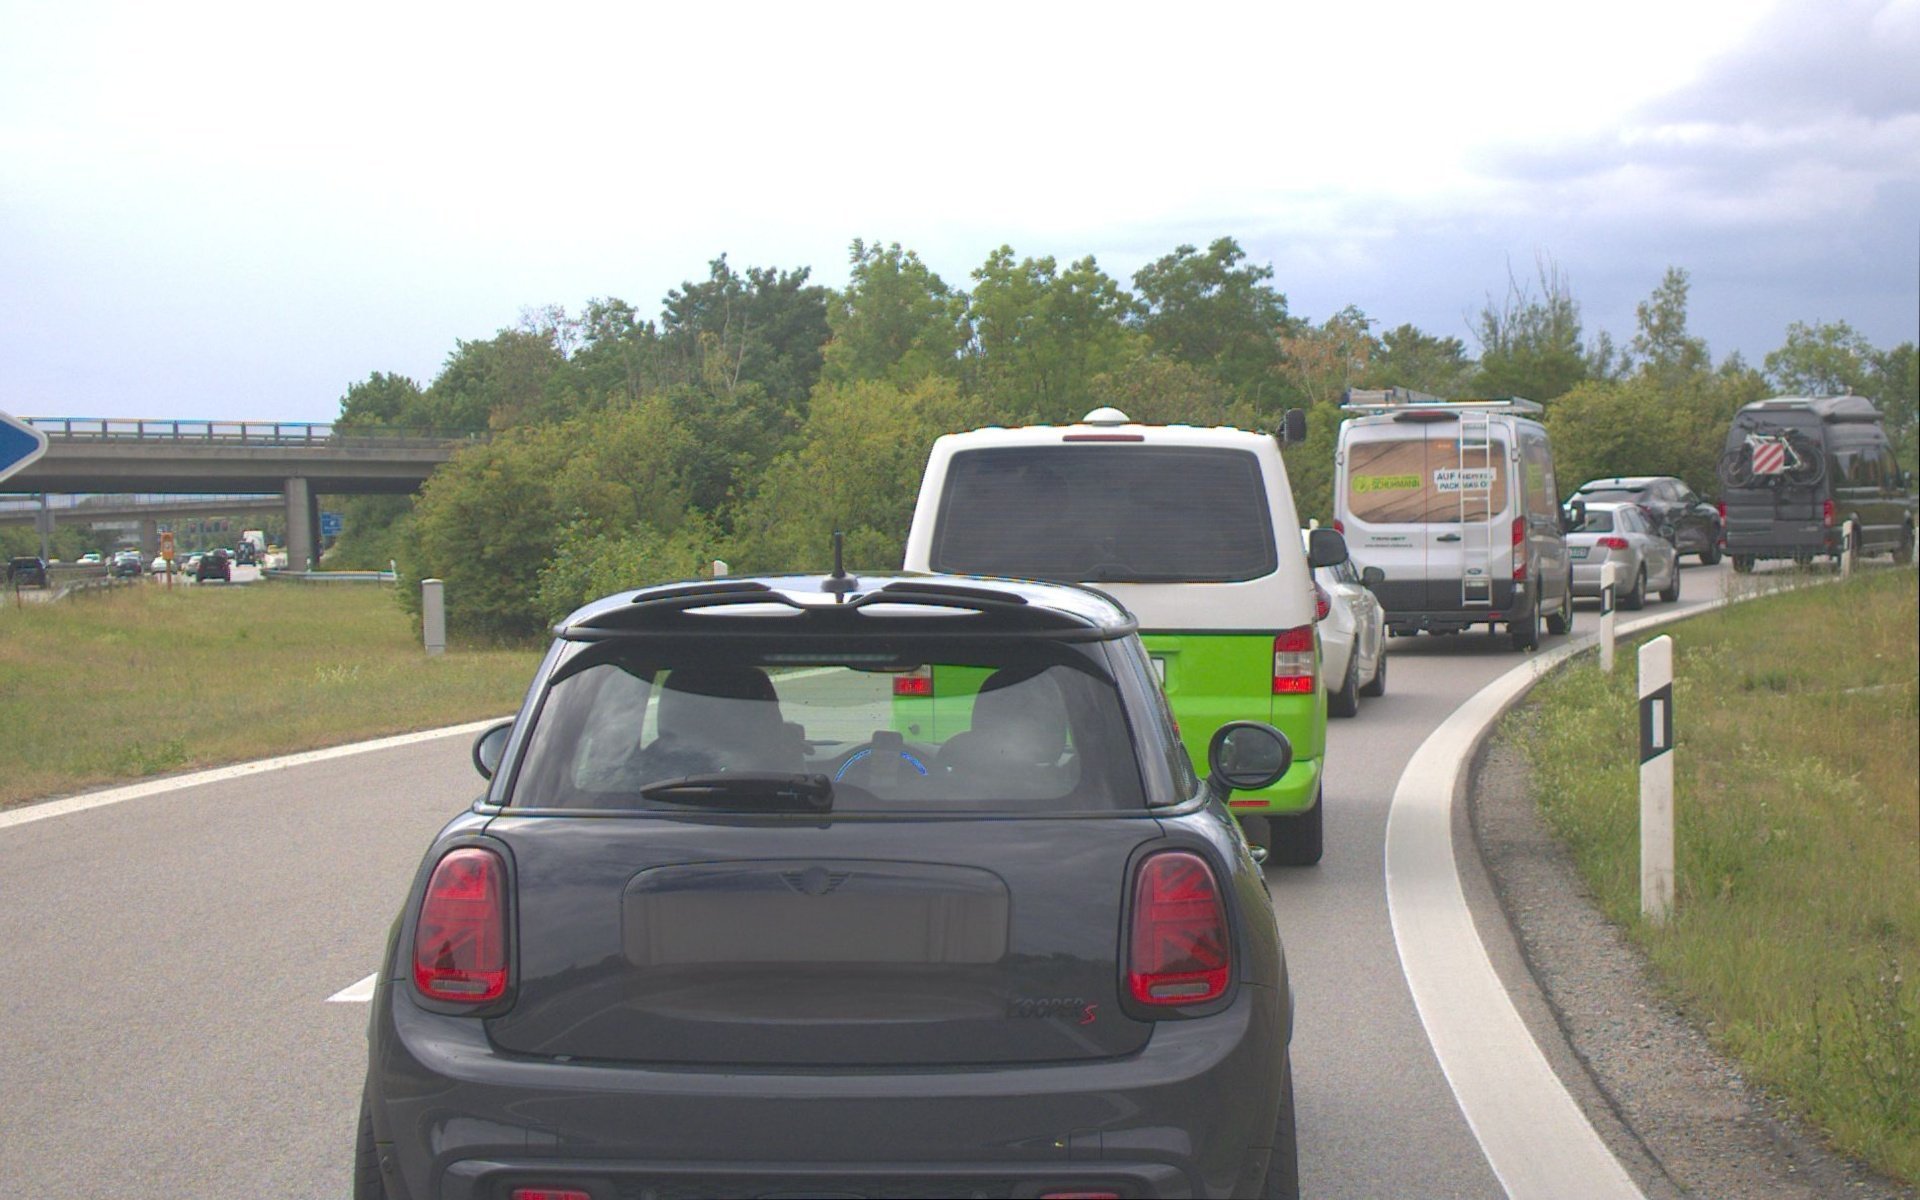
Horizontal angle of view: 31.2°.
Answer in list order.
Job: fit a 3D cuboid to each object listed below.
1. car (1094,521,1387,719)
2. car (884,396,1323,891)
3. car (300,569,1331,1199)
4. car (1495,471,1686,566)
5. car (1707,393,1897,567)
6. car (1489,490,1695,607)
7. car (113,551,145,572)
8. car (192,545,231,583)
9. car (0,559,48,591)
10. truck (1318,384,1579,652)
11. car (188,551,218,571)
[{"bbox_3d":[2.213,0.109,26.226,1.763,1.394,3.723,-1,1,12],"label":"car"},{"bbox_3d":[0.774,0.137,16.004,1.784,2.007,3.999,0,1,6],"label":"car"},{"bbox_3d":[-0.236,0.650,7.631,1.727,1.409,3.725,0,1,0],"label":"car"},{"bbox_3d":[10.863,-1.388,58.998,1.836,1.560,4.490,0,1,30],"label":"car"},{"bbox_3d":[14.024,-1.973,57.119,2.108,2.786,3.994,1,2,28],"label":"car"},{"bbox_3d":[8.576,-0.703,46.421,1.868,1.504,3.995,0,1,24],"label":"car"},{"bbox_3d":[-56.991,-2.649,235.869,1.779,1.394,4.307,-1,1,-9],"label":"car"},{"bbox_3d":[-40.627,-1.960,186.722,1.993,2.007,4.001,1,0,-12],"label":"car"},{"bbox_3d":[-43.899,-1.190,161.218,1.721,1.419,4.799,-1,1,-10],"label":"car"},{"bbox_3d":[5.324,-0.895,36.869,2.180,2.649,5.105,0,2,15],"label":"truck"},{"bbox_3d":[-53.323,-2.774,242.215,1.779,1.394,4.552,-1,1,-9],"label":"car"}]
